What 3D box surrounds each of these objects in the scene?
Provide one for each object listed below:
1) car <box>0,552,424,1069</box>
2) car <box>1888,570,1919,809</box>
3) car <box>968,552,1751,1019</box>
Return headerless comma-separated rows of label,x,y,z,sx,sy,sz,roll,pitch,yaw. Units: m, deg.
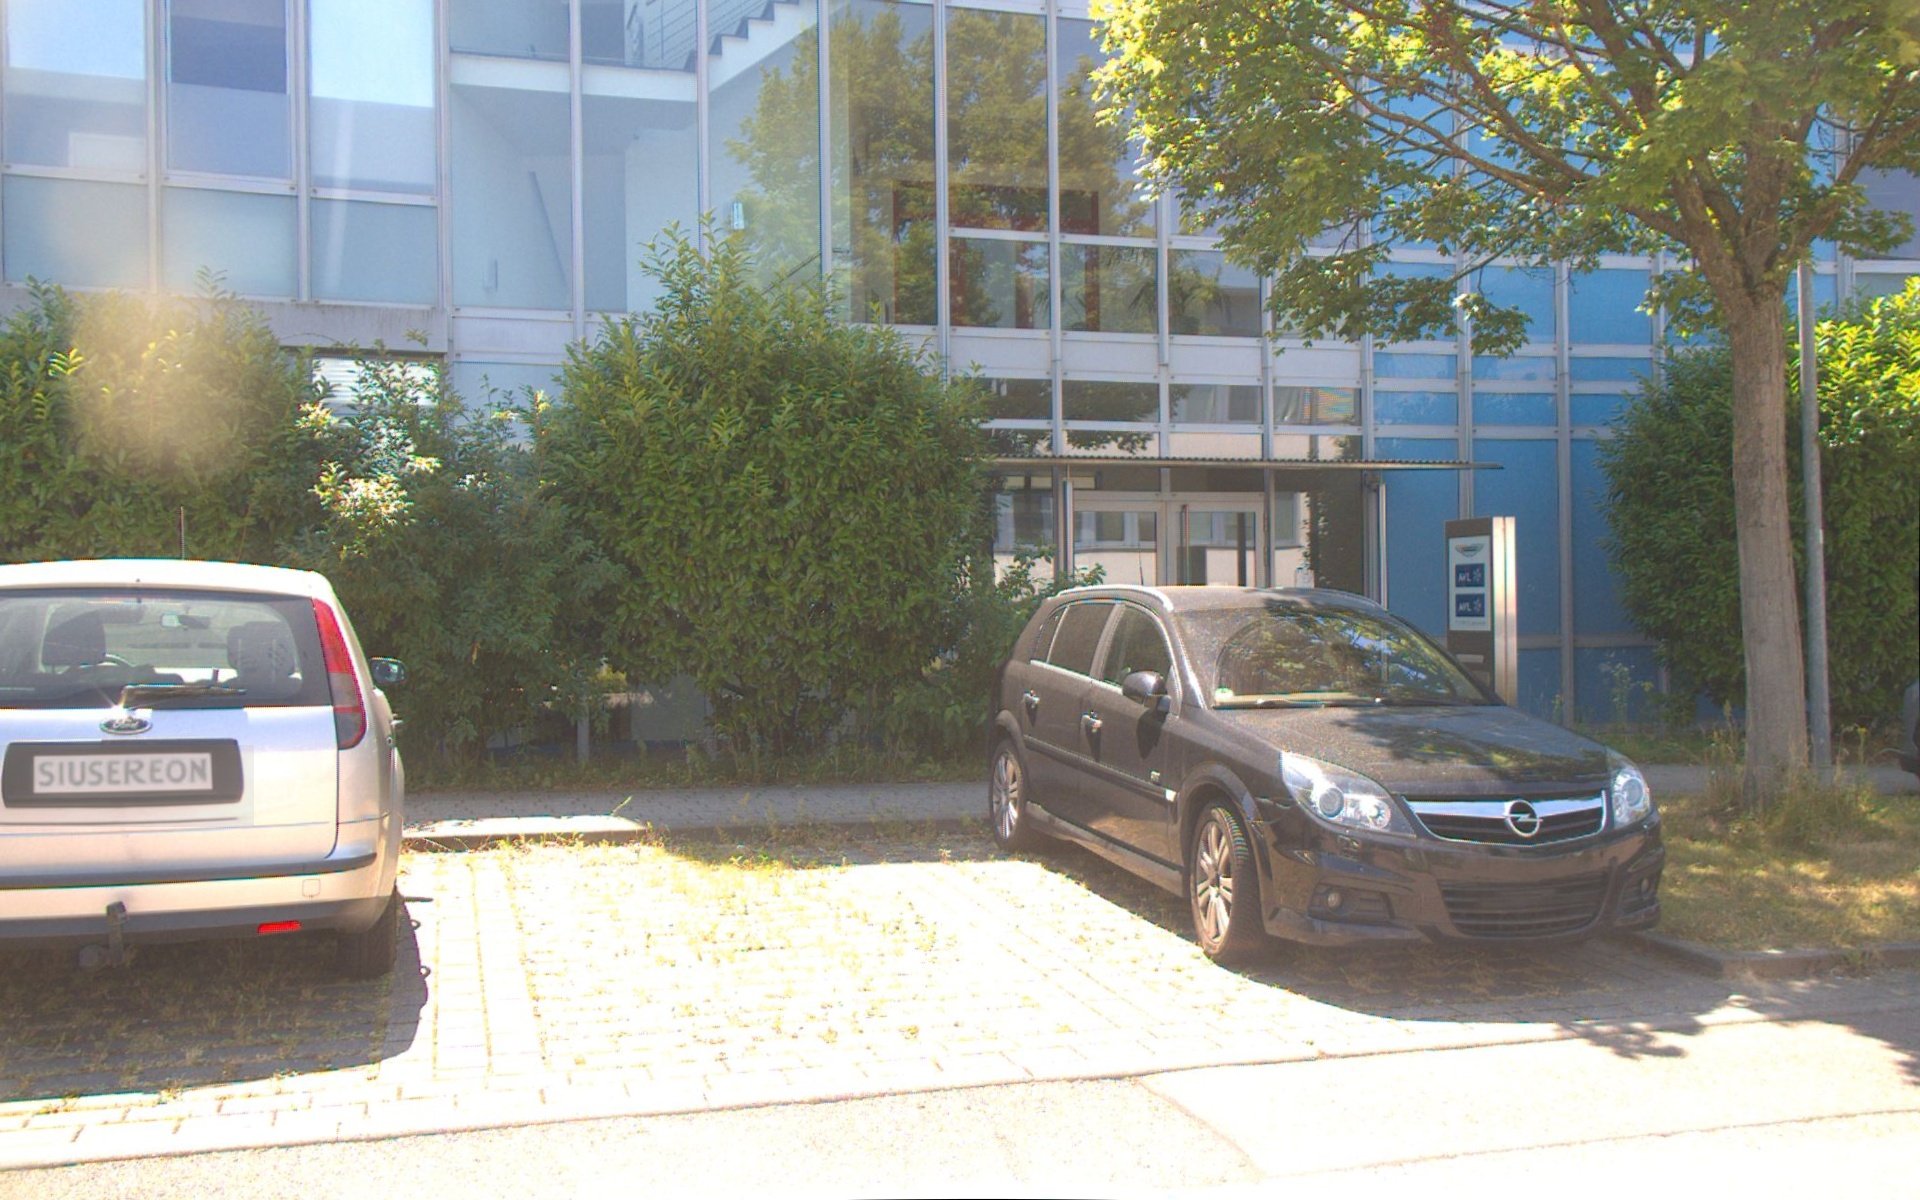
car,-3.230,0.614,6.974,1.694,1.505,4.323,1,0,-20
car,8.021,0.679,9.940,1.819,1.671,4.318,1,1,-13
car,1.476,0.638,8.027,1.729,1.576,4.547,1,0,-15
